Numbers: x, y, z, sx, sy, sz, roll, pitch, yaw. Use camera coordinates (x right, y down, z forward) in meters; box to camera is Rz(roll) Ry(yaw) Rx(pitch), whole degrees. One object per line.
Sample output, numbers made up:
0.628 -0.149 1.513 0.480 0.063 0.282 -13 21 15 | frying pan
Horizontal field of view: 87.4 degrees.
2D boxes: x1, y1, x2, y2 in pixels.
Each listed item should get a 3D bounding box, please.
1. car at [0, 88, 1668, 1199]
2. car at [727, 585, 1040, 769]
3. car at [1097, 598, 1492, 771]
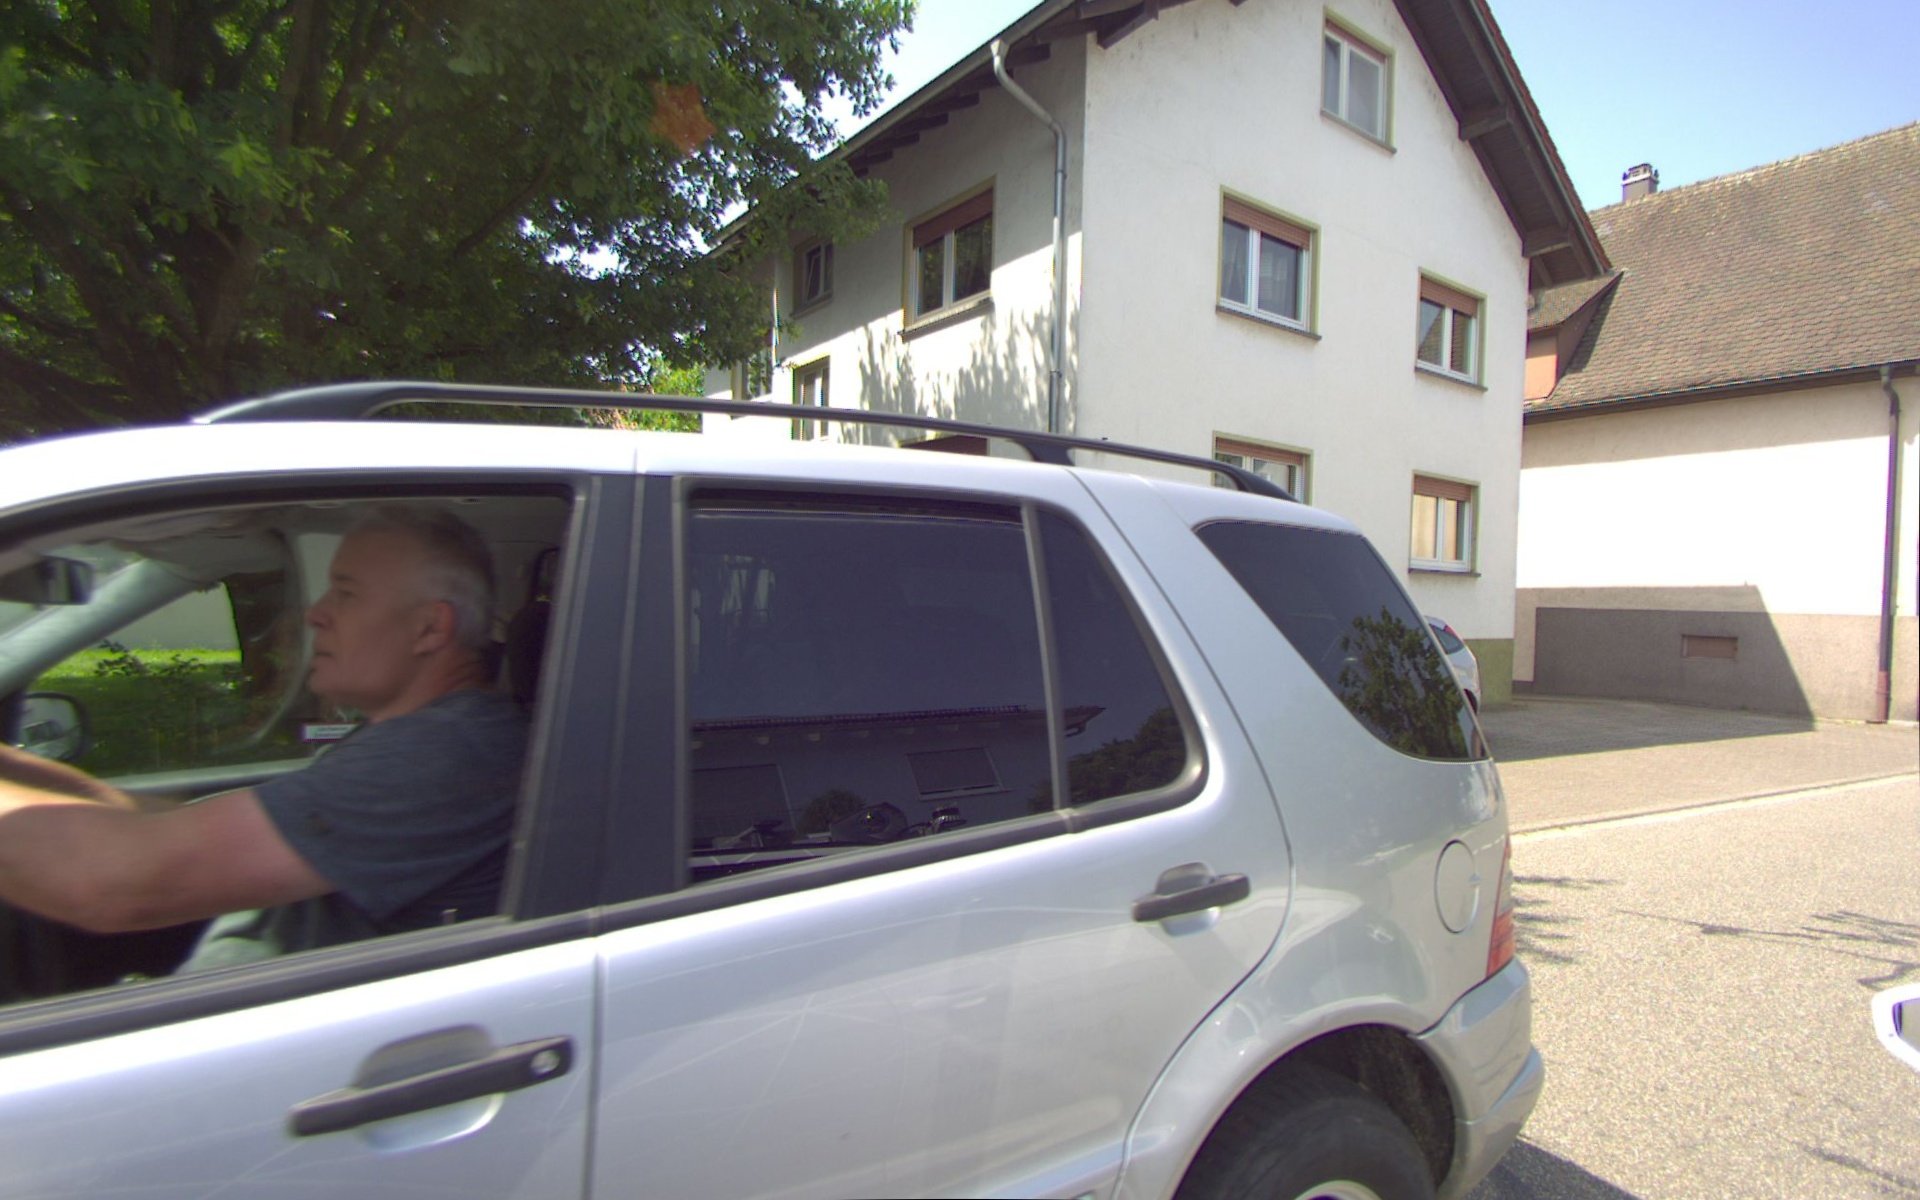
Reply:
-0.882 0.526 1.717 4.282 1.790 1.875 1 0 -32 | car
-1.029 0.692 10.764 1.753 1.559 4.140 1 -1 -30 | car
3.553 0.760 10.484 4.011 1.454 1.768 1 1 -32 | car
